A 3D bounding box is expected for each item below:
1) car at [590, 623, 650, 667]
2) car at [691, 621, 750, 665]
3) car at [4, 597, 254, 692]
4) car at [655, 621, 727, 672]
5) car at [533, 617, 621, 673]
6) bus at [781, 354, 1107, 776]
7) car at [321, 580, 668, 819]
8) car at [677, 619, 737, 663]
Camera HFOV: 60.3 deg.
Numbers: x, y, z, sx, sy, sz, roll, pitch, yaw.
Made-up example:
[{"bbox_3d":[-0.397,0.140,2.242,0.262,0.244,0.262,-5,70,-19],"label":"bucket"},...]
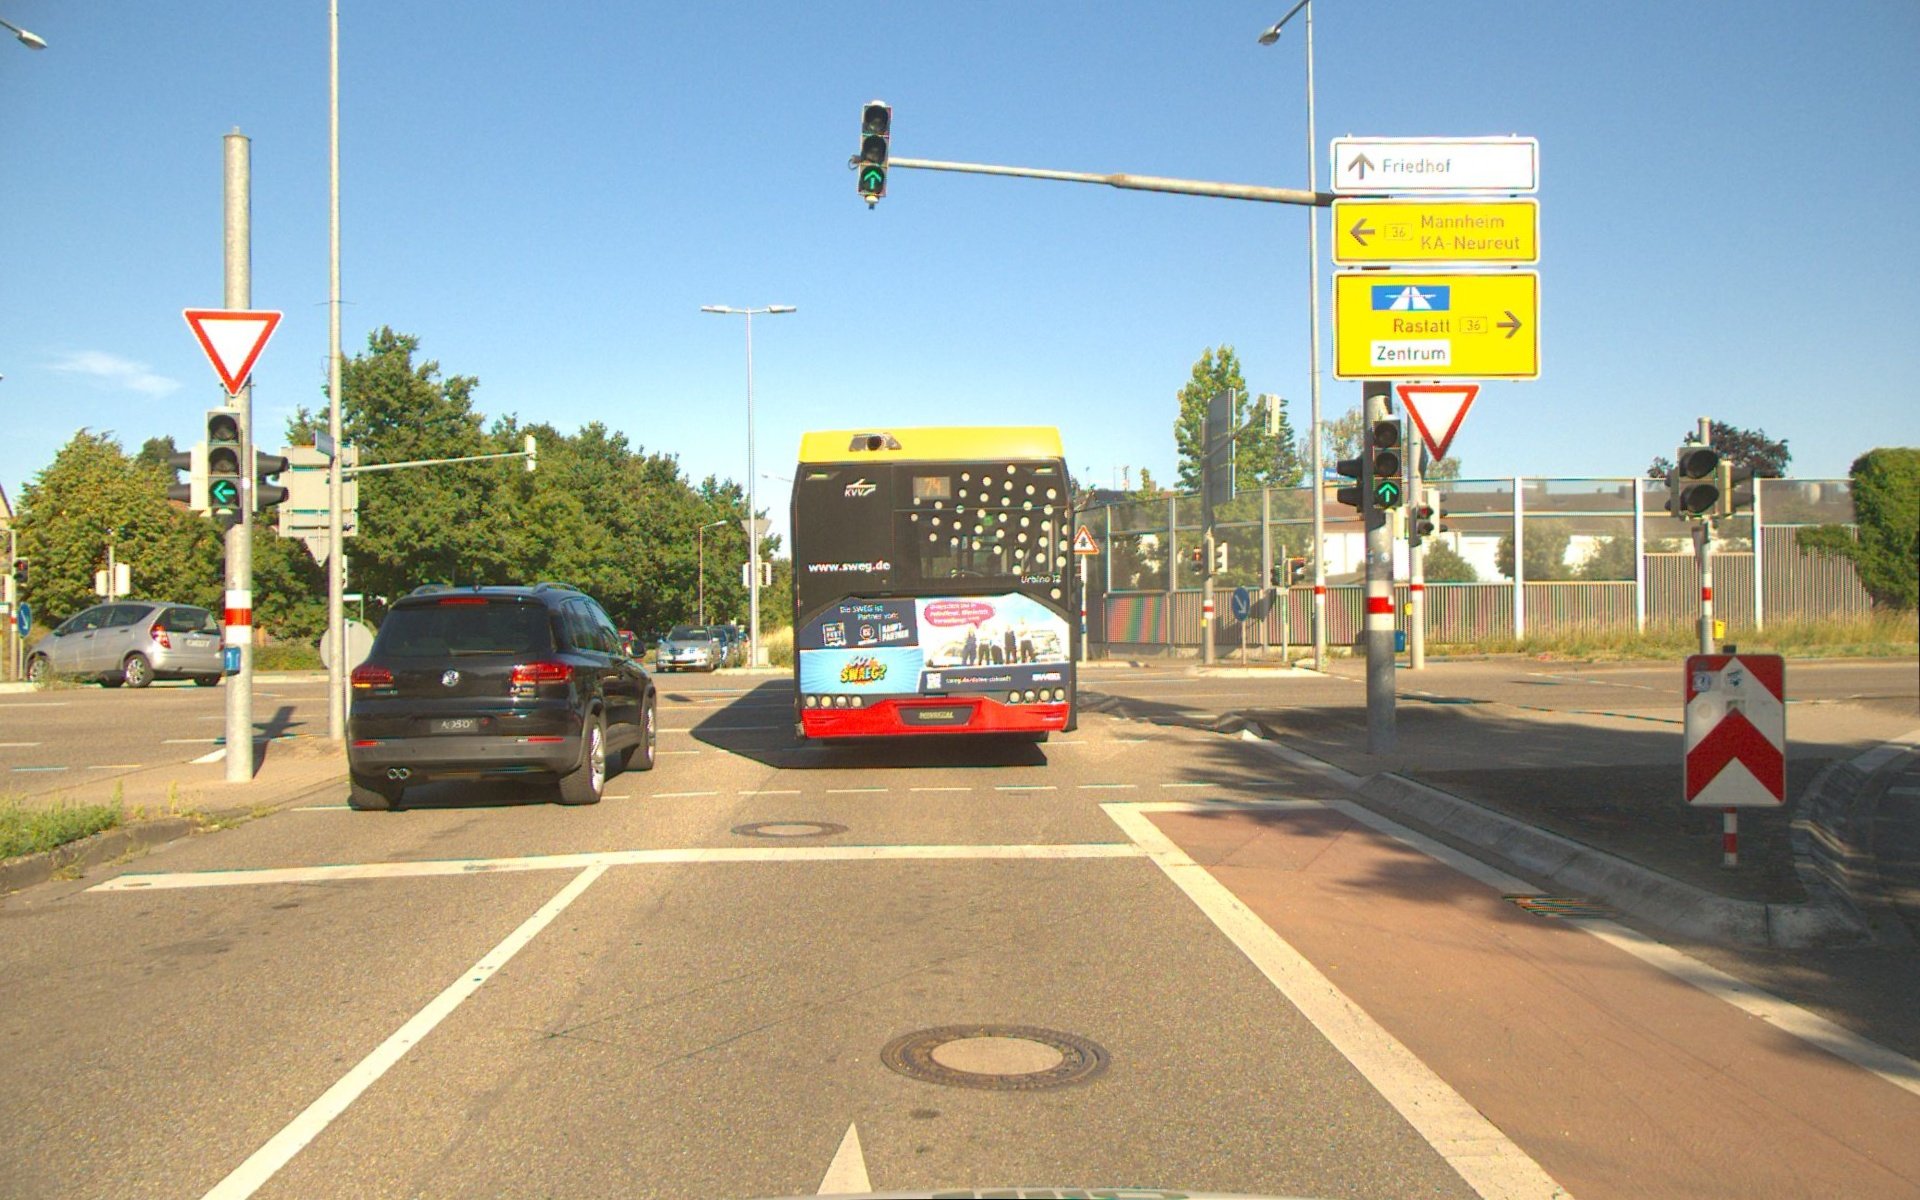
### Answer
[{"bbox_3d":[-12.328,1.612,60.144,1.613,1.509,3.710,-1,-1,-3],"label":"car"},{"bbox_3d":[-9.506,1.704,65.887,1.954,1.644,4.526,-1,-1,-4],"label":"car"},{"bbox_3d":[-15.722,0.801,31.298,4.317,1.644,2.046,0,1,27],"label":"car"},{"bbox_3d":[-8.570,1.469,52.982,1.758,1.532,4.527,-1,-1,-3],"label":"car"},{"bbox_3d":[-12.228,1.431,53.074,1.954,1.673,4.527,-1,-1,-3],"label":"car"},{"bbox_3d":[-0.426,-0.283,20.174,2.702,3.519,12.390,1,0,-3],"label":"bus"},{"bbox_3d":[-3.616,0.705,13.603,1.790,1.656,3.999,0,0,-1],"label":"car"},{"bbox_3d":[-9.000,1.453,59.086,1.712,1.509,3.885,-1,-1,-3],"label":"car"}]
